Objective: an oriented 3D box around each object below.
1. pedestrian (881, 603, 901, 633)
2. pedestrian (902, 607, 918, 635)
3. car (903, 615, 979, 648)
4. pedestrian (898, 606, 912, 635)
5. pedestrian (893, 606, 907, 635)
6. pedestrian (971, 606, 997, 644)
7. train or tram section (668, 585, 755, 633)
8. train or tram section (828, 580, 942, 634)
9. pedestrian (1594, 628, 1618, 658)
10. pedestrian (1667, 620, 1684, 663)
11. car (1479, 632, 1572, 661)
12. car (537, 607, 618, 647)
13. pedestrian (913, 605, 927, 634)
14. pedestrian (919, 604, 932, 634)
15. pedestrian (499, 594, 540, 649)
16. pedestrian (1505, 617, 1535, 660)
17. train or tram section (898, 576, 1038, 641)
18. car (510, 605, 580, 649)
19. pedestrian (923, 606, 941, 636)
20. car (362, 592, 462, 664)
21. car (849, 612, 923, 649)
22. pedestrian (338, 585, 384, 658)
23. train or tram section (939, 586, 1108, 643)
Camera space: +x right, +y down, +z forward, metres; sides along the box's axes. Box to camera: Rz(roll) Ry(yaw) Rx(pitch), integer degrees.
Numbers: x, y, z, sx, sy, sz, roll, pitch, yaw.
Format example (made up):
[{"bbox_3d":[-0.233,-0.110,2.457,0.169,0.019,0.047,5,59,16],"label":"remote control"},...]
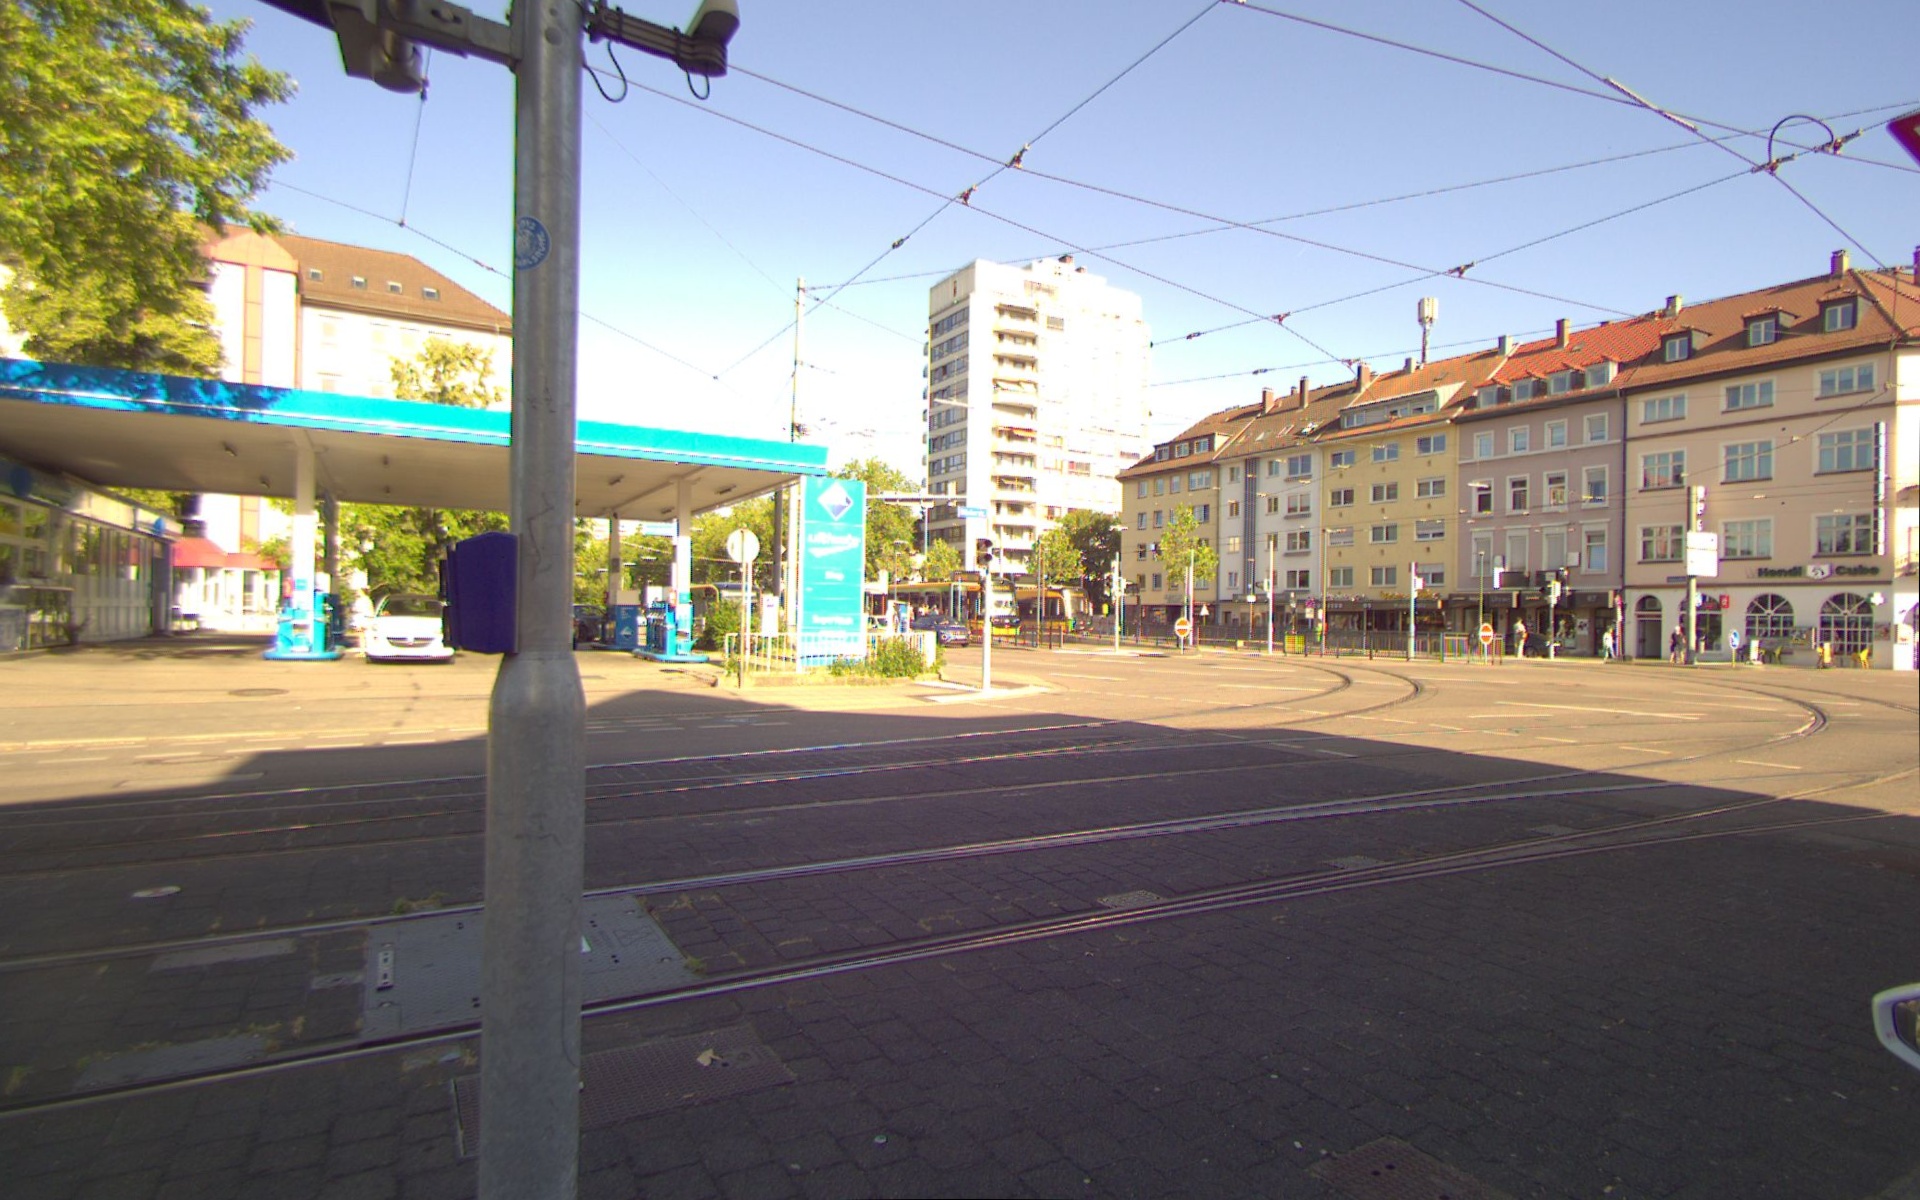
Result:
[{"bbox_3d":[-4.258,1.079,61.656,0.902,1.826,0.887,1,-1,-33],"label":"pedestrian"},{"bbox_3d":[-2.925,1.243,59.104,0.709,1.646,0.703,1,-1,19],"label":"pedestrian"},{"bbox_3d":[-0.956,1.490,48.350,1.937,1.475,4.077,1,0,-30],"label":"car"},{"bbox_3d":[-3.146,1.188,57.813,0.506,1.646,0.666,0,-1,30],"label":"pedestrian"},{"bbox_3d":[-3.462,1.179,57.919,0.500,1.646,0.605,0,-1,30],"label":"pedestrian"},{"bbox_3d":[1.170,1.220,48.511,0.902,1.826,0.887,1,-1,-33],"label":"pedestrian"},{"bbox_3d":[-15.029,0.449,60.040,2.233,2.627,10.398,2,0,-30],"label":"train or tram section"},{"bbox_3d":[-5.249,0.519,67.583,3.252,3.335,10.157,1,-1,-33],"label":"train or tram section"},{"bbox_3d":[34.726,2.308,54.030,0.849,1.547,0.786,1,-1,-29],"label":"pedestrian"},{"bbox_3d":[34.212,1.982,48.023,0.498,2.040,0.507,1,-1,-27],"label":"pedestrian"},{"bbox_3d":[30.777,2.495,54.717,1.980,1.483,3.962,1,-1,-34],"label":"car"},{"bbox_3d":[-17.201,1.209,45.384,1.960,1.685,4.001,1,-1,2],"label":"car"},{"bbox_3d":[-2.367,1.158,59.494,0.766,1.721,0.698,1,-1,6],"label":"pedestrian"},{"bbox_3d":[-2.001,1.086,58.494,0.491,1.721,0.553,1,-1,-33],"label":"pedestrian"},{"bbox_3d":[-14.871,0.714,33.910,0.896,1.826,0.893,0,-1,34],"label":"pedestrian"},{"bbox_3d":[24.498,1.694,43.957,0.801,1.842,0.871,1,-1,-29],"label":"pedestrian"},{"bbox_3d":[0.232,0.516,58.965,3.252,3.459,10.157,1,-1,-33],"label":"train or tram section"},{"bbox_3d":[-13.500,0.861,32.579,1.752,1.332,3.520,1,-1,-28],"label":"car"},{"bbox_3d":[-1.568,1.167,56.279,0.791,1.646,0.706,1,-1,-33],"label":"pedestrian"},{"bbox_3d":[-12.269,0.603,22.434,1.773,1.461,3.968,2,-1,-30],"label":"car"},{"bbox_3d":[-3.504,1.391,46.807,1.976,1.615,3.970,1,-1,-29],"label":"car"},{"bbox_3d":[-13.907,0.501,23.344,0.801,1.652,0.643,1,-1,-24],"label":"pedestrian"},{"bbox_3d":[3.971,1.001,70.986,3.275,3.617,16.451,1,-1,-30],"label":"train or tram section"}]
